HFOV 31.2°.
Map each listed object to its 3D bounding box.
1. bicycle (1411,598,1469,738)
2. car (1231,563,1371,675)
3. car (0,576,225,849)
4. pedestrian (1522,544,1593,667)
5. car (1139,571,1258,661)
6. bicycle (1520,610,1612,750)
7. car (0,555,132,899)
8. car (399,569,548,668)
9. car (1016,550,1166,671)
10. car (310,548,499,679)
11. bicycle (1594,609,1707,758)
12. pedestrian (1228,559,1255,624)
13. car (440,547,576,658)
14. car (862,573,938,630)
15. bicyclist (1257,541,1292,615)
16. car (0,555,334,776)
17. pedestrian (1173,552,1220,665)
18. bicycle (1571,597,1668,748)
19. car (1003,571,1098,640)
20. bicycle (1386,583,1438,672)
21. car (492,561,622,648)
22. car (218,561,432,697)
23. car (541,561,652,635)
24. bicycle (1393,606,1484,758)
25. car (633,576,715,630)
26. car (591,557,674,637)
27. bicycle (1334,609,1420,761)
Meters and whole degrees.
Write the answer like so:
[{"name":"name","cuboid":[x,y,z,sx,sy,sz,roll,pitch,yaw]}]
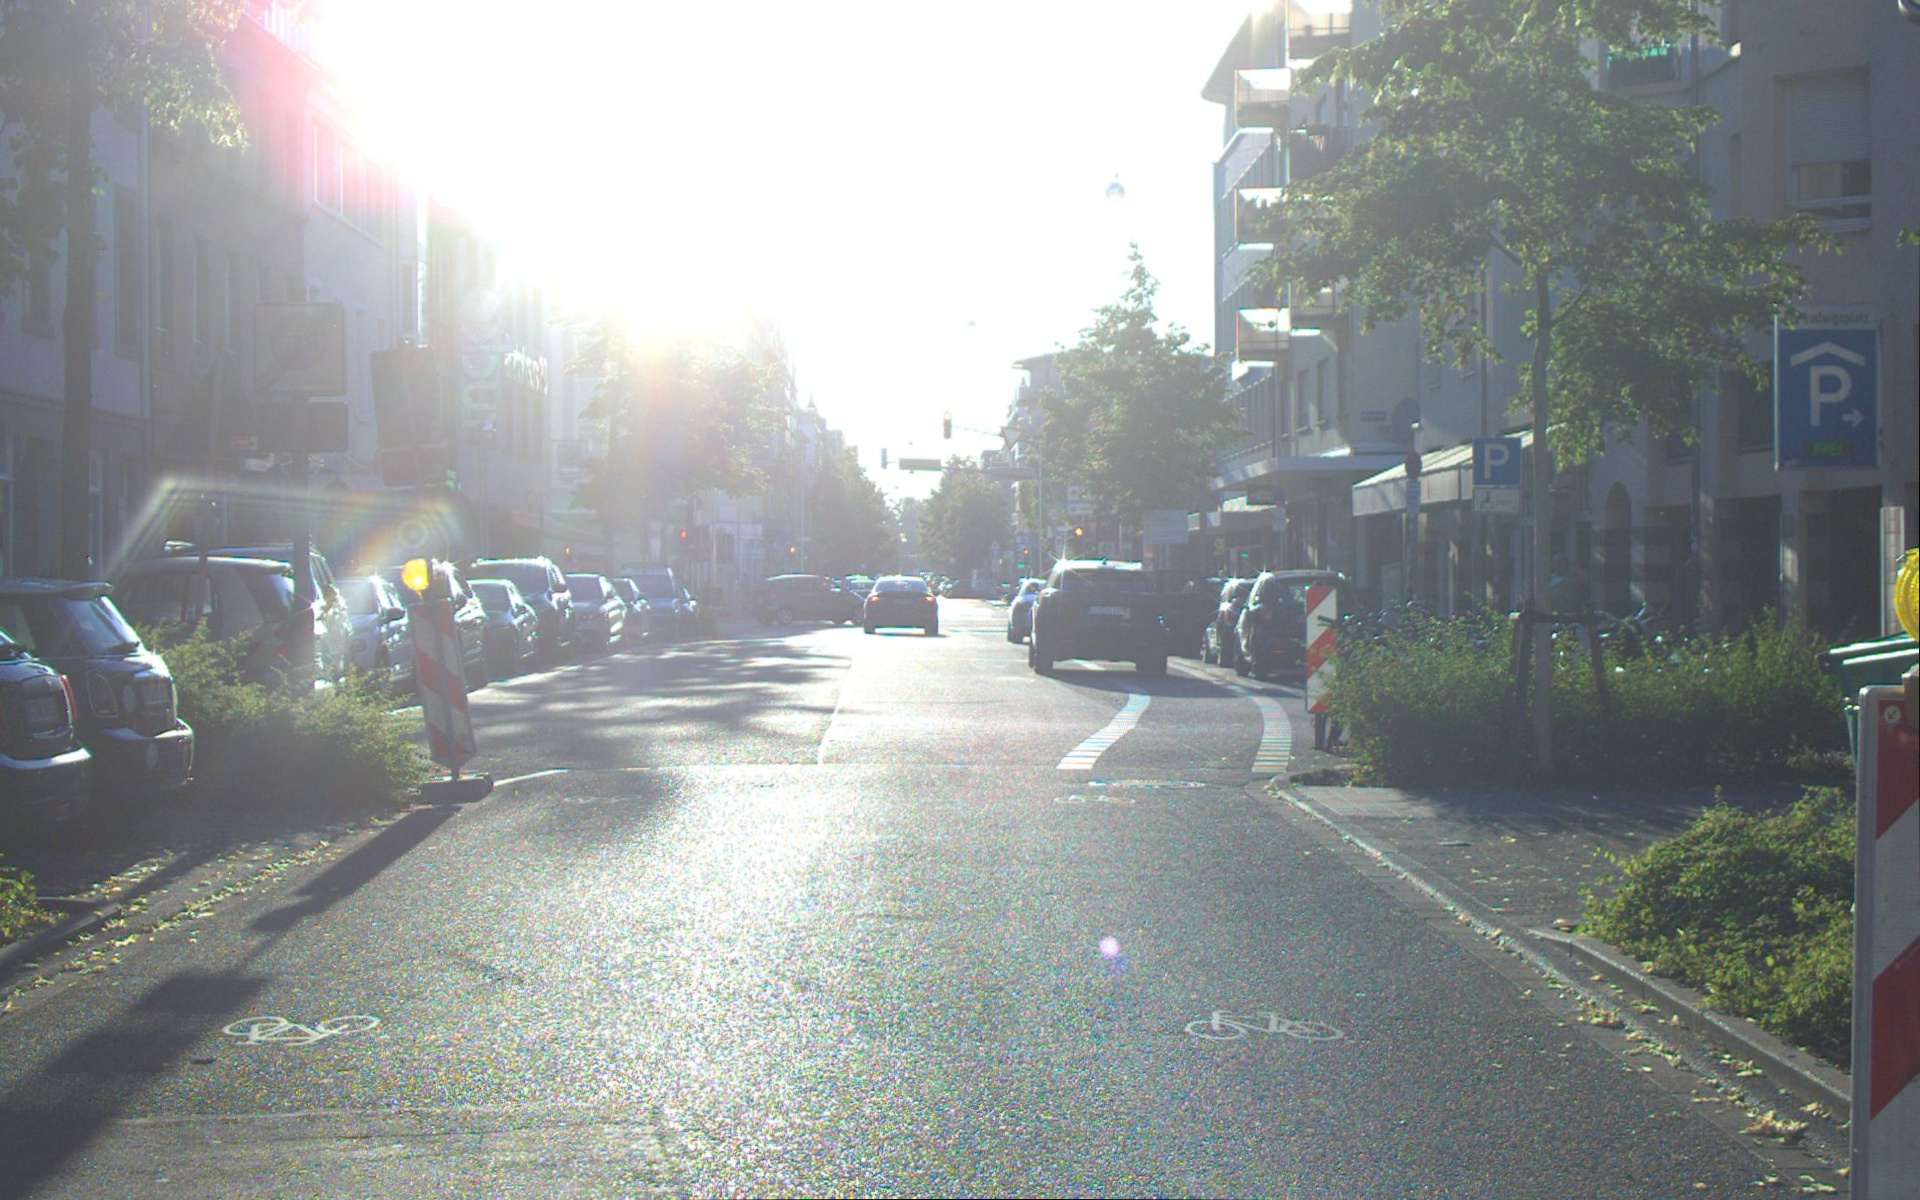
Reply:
[{"name":"bicycle","cuboid":[3.943,0.545,28.190,0.371,1.104,1.522,0,0,11]},{"name":"car","cuboid":[4.928,0.256,49.958,1.632,1.548,2.695,-1,1,-3]},{"name":"car","cuboid":[-5.870,0.564,18.583,3.397,1.387,1.686,0,1,2]},{"name":"pedestrian","cuboid":[8.167,0.073,47.009,0.810,1.641,0.606,-2,-1,0]},{"name":"car","cuboid":[3.921,0.237,56.923,1.633,1.419,3.758,-1,0,-1]},{"name":"bicycle","cuboid":[4.919,0.635,27.979,0.382,1.096,1.523,0,0,-4]},{"name":"car","cuboid":[-6.051,0.536,16.094,3.893,1.512,1.857,0,1,1]},{"name":"car","cuboid":[-7.585,0.259,53.912,1.713,1.435,4.309,-2,1,0]},{"name":"car","cuboid":[1.892,0.135,51.076,1.995,1.649,4.674,2,0,0]},{"name":"car","cuboid":[-7.235,0.152,45.122,1.774,1.627,4.238,0,0,0]},{"name":"bicycle","cuboid":[5.339,0.632,26.639,0.381,1.096,1.523,0,0,-7]},{"name":"pedestrian","cuboid":[7.499,-0.236,91.552,0.688,1.716,0.716,-1,0,6]},{"name":"car","cuboid":[-7.851,0.015,60.137,1.827,1.804,5.349,-2,1,-2]},{"name":"car","cuboid":[-1.516,0.015,88.382,1.883,1.410,4.325,1,0,0]},{"name":"bicyclist","cuboid":[7.246,-0.513,79.185,0.650,1.696,1.095,0,0,-3]},{"name":"car","cuboid":[-6.185,0.473,25.820,2.693,1.515,1.572,-2,2,-3]},{"name":"pedestrian","cuboid":[3.486,0.121,50.744,0.441,1.659,0.565,-1,0,-25]},{"name":"bicycle","cuboid":[5.374,0.574,28.056,0.382,1.185,1.523,1,0,-4]},{"name":"car","cuboid":[1.966,0.100,75.862,1.922,1.410,4.548,2,0,0]},{"name":"bicycle","cuboid":[6.457,0.380,49.156,0.397,1.230,1.826,-1,1,-3]},{"name":"car","cuboid":[-7.756,0.062,66.537,1.827,1.551,5.136,-2,1,0]},{"name":"car","cuboid":[-7.422,0.305,40.513,1.774,1.510,3.950,0,1,0]},{"name":"car","cuboid":[-7.645,-0.045,72.641,1.827,1.434,4.553,-2,0,0]},{"name":"bicycle","cuboid":[3.625,0.606,26.111,0.382,1.096,1.523,0,0,-3]},{"name":"car","cuboid":[-7.314,0.066,88.165,1.833,1.323,4.124,0,1,-1]},{"name":"car","cuboid":[-7.776,-0.068,81.837,1.833,1.848,4.124,0,0,-4]},{"name":"bicycle","cuboid":[3.158,0.629,26.118,0.382,1.096,1.523,0,0,-3]}]
